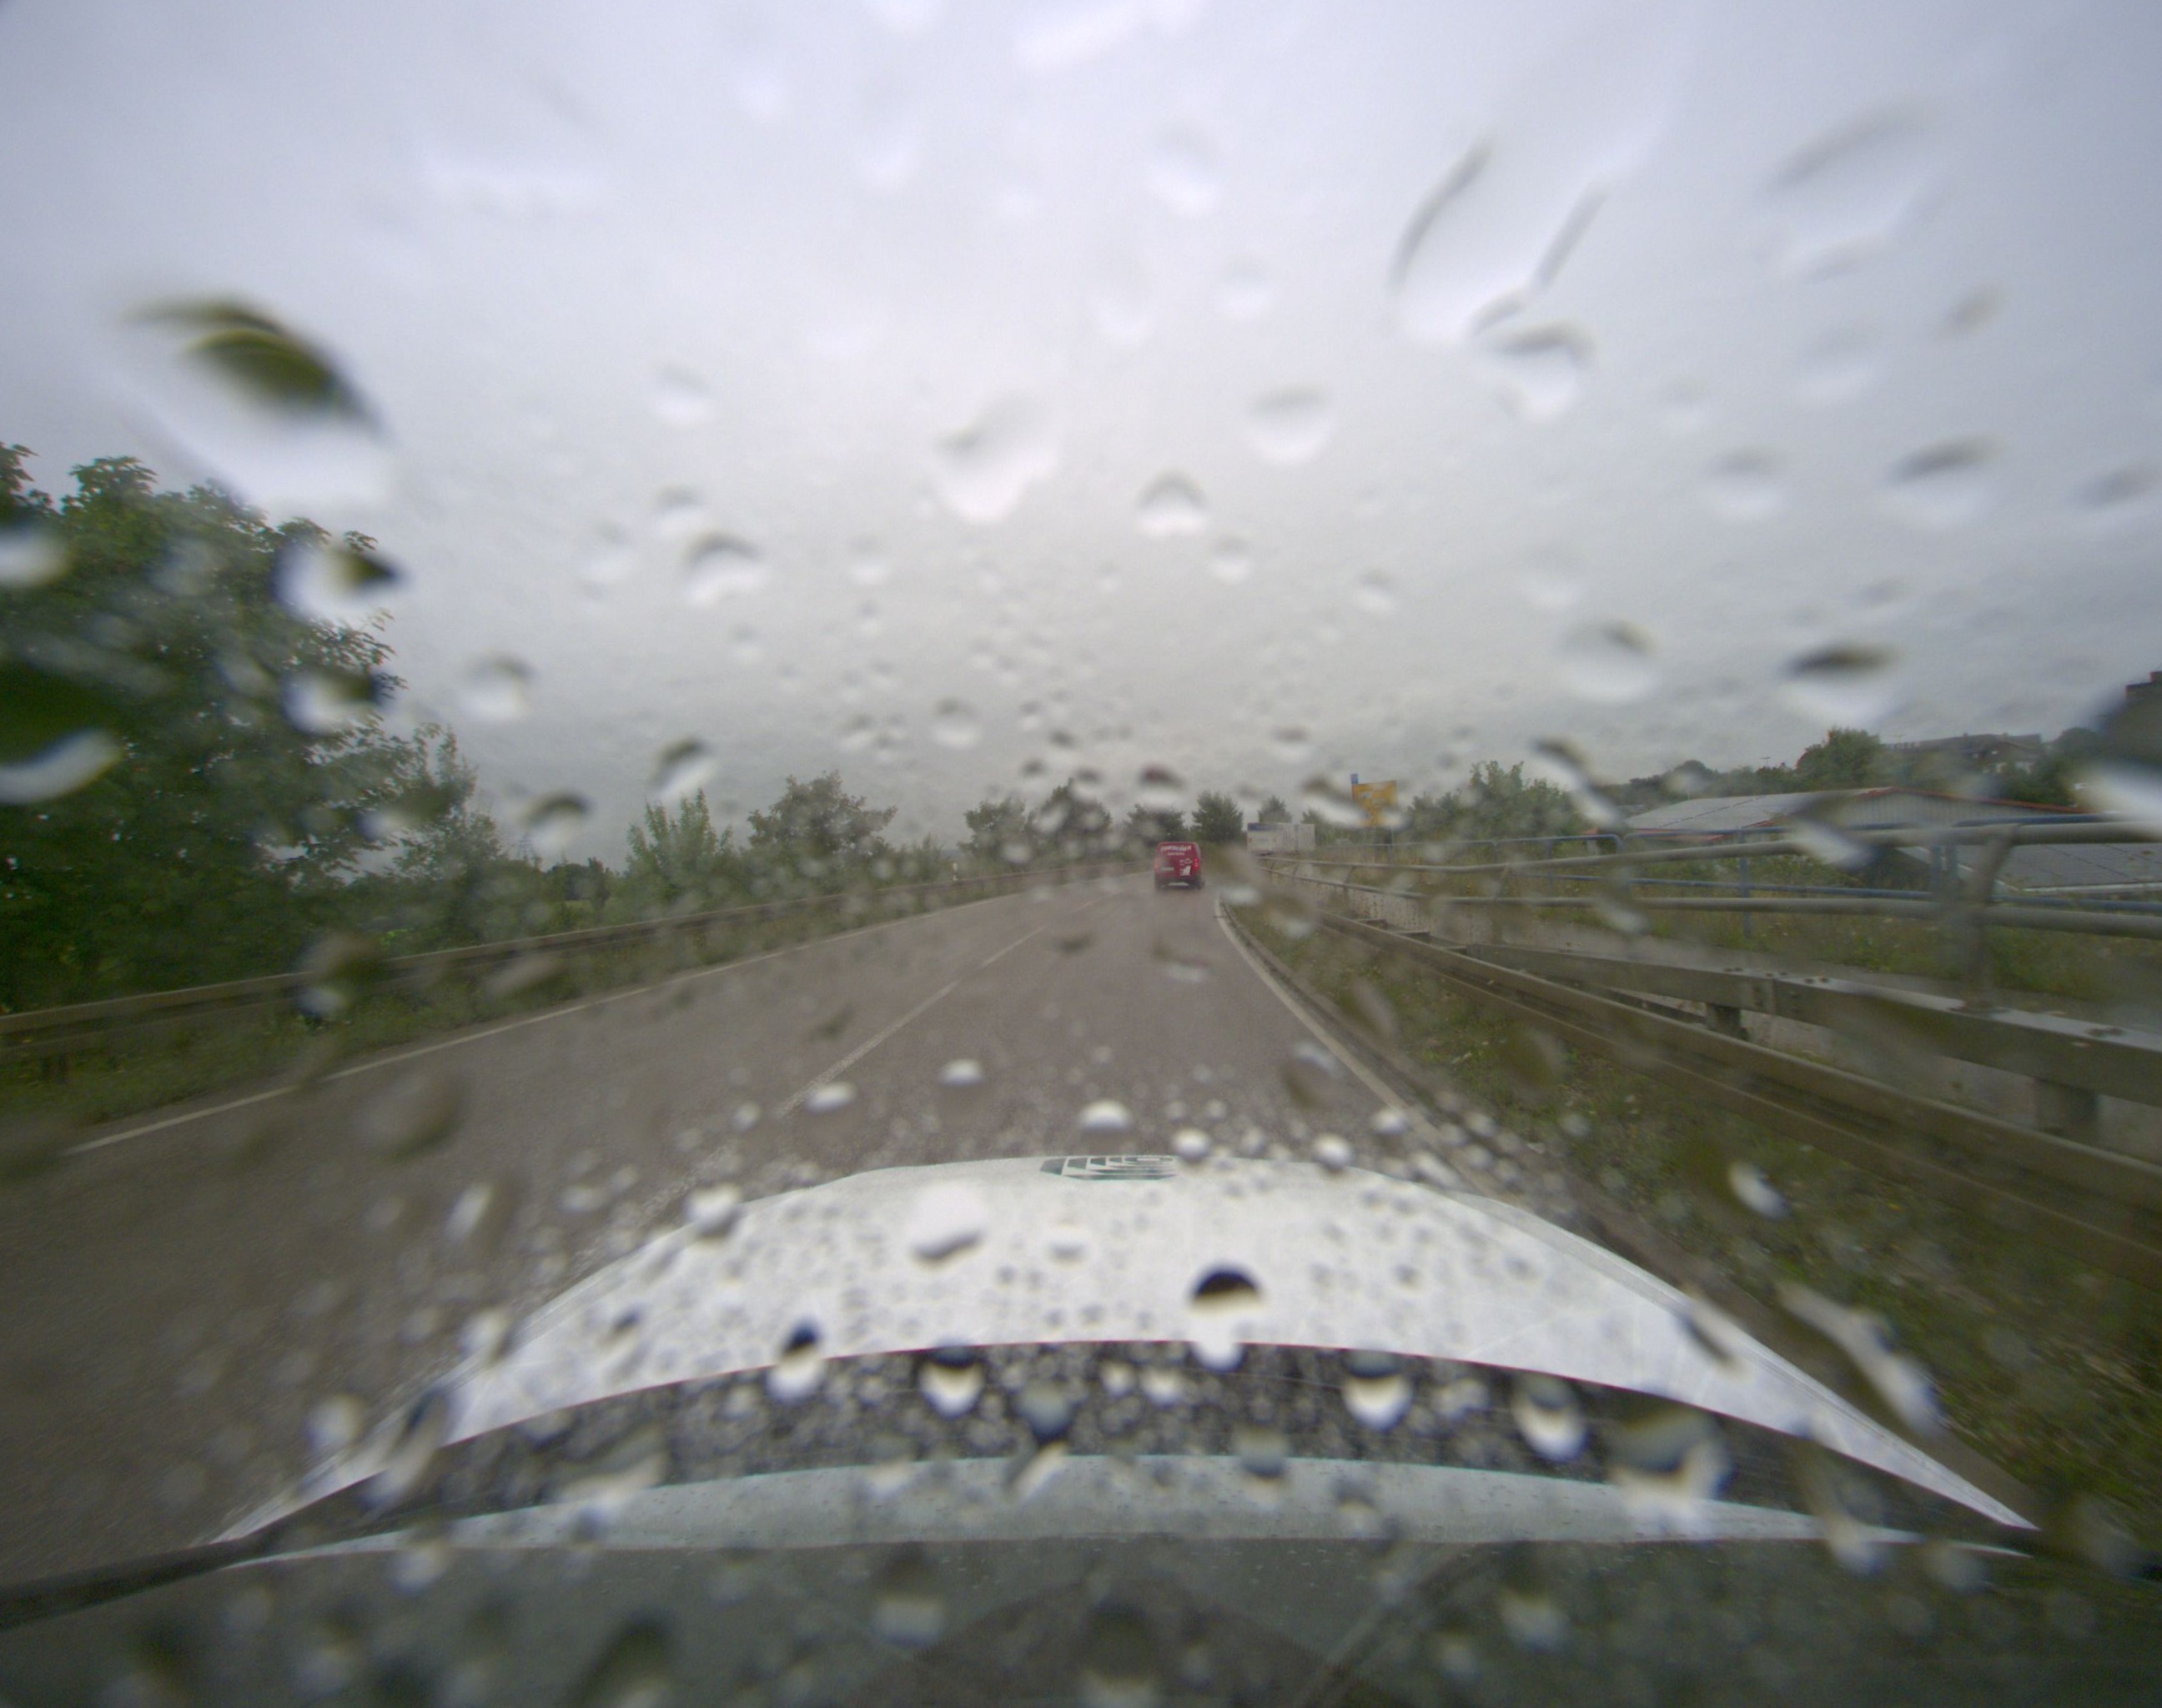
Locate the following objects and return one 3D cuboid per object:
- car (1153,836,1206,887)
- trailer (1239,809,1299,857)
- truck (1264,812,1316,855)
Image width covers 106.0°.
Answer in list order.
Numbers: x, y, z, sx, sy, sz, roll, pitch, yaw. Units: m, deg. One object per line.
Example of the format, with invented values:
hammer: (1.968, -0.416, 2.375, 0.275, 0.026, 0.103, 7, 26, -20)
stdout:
car: (4.158, 0.273, 34.369, 1.983, 1.925, 4.152, -2, 1, 7)
trailer: (16.615, -1.789, 71.427, 3.172, 3.922, 8.791, -1, 0, 26)
truck: (20.438, -1.903, 79.339, 3.172, 3.922, 8.791, -1, 0, 26)
